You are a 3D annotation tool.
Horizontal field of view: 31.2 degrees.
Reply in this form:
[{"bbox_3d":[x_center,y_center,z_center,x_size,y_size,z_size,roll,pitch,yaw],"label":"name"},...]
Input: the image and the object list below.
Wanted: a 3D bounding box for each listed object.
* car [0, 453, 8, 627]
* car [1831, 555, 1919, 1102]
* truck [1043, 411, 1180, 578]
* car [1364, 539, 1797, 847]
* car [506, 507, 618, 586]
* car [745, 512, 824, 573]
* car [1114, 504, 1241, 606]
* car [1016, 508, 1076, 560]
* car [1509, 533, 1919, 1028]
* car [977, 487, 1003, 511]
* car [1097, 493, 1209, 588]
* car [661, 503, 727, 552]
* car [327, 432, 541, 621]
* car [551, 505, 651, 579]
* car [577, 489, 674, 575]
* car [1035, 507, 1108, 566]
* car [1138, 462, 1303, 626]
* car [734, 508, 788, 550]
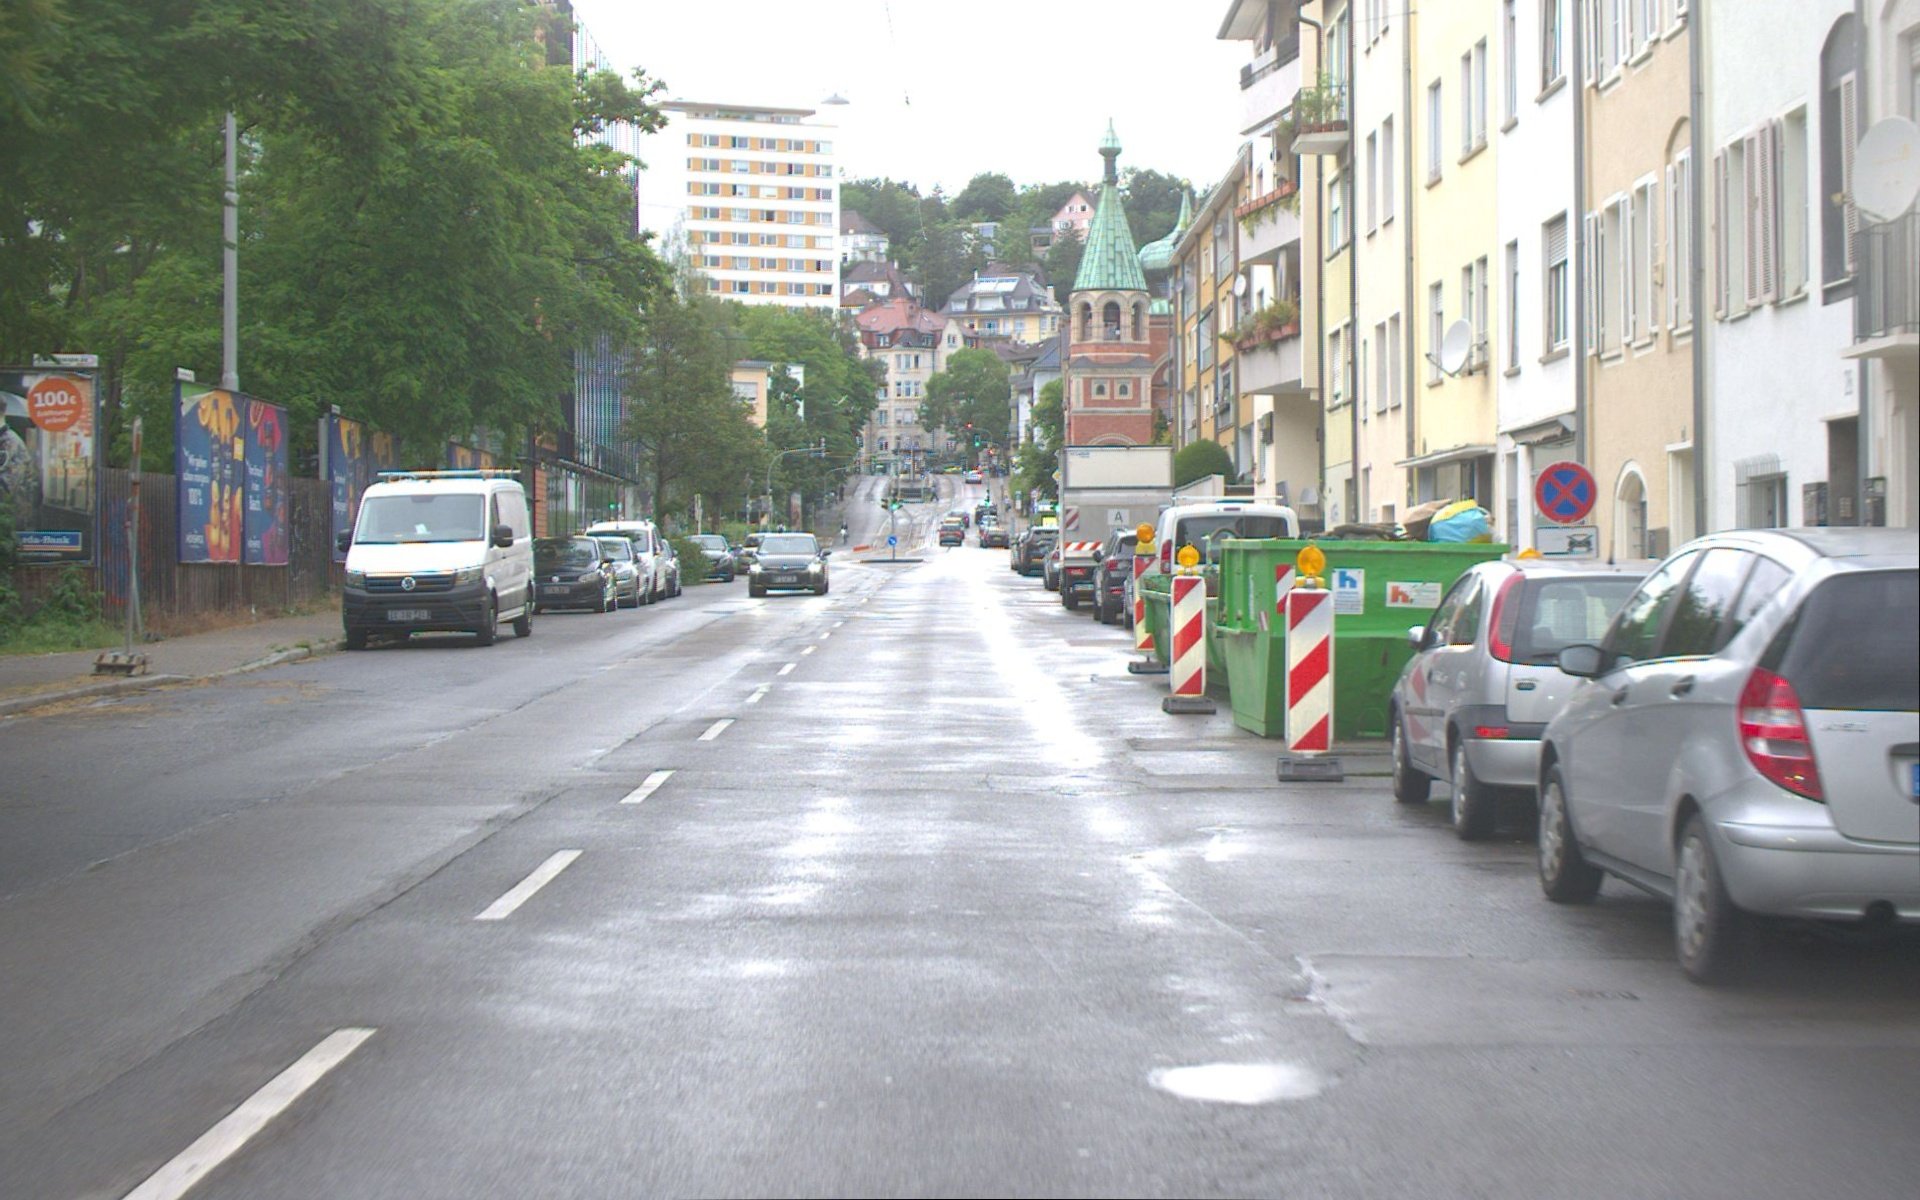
[{"bbox_3d":[-13.815,-0.614,38.867,5.499,2.002,2.147,-1,2,-2],"label":"car"},{"bbox_3d":[3.384,0.673,8.216,1.558,1.449,3.760,1,2,-1],"label":"car"},{"bbox_3d":[2.961,-2.070,68.784,2.469,3.161,7.036,0,1,0],"label":"truck"},{"bbox_3d":[3.249,0.421,18.678,1.626,1.406,3.842,1,2,0],"label":"car"},{"bbox_3d":[-7.390,-1.008,64.143,1.682,1.394,3.911,-1,1,-1],"label":"car"},{"bbox_3d":[-4.164,-1.396,82.142,1.805,1.411,4.384,0,1,-2],"label":"car"},{"bbox_3d":[3.293,-0.720,52.677,1.663,1.494,4.098,0,2,0],"label":"car"},{"bbox_3d":[2.841,-2.202,114.485,1.817,1.647,4.076,1,1,0],"label":"car"},{"bbox_3d":[3.306,0.555,13.042,1.716,1.519,4.001,1,2,-1],"label":"car"},{"bbox_3d":[2.166,-7.341,249.130,1.732,1.648,4.000,-1,2,3],"label":"car"},{"bbox_3d":[3.257,-1.041,58.725,1.663,1.568,4.098,0,2,0],"label":"car"},{"bbox_3d":[-8.084,-2.204,104.797,1.803,1.445,4.658,-1,1,-2],"label":"car"},{"bbox_3d":[-7.359,-1.073,48.728,2.012,2.478,5.984,-1,2,1],"label":"car"},{"bbox_3d":[-7.358,-1.197,70.775,1.682,1.457,4.277,-1,1,-1],"label":"car"},{"bbox_3d":[-7.313,-1.479,75.486,1.723,1.794,4.344,-1,1,-1],"label":"car"},{"bbox_3d":[2.855,-1.638,88.905,1.663,1.497,3.922,0,1,-1],"label":"car"},{"bbox_3d":[3.167,-0.718,42.430,1.817,1.917,4.239,0,2,2],"label":"car"},{"bbox_3d":[-6.960,-2.481,120.590,1.709,1.445,4.295,-1,1,-1],"label":"car"}]
